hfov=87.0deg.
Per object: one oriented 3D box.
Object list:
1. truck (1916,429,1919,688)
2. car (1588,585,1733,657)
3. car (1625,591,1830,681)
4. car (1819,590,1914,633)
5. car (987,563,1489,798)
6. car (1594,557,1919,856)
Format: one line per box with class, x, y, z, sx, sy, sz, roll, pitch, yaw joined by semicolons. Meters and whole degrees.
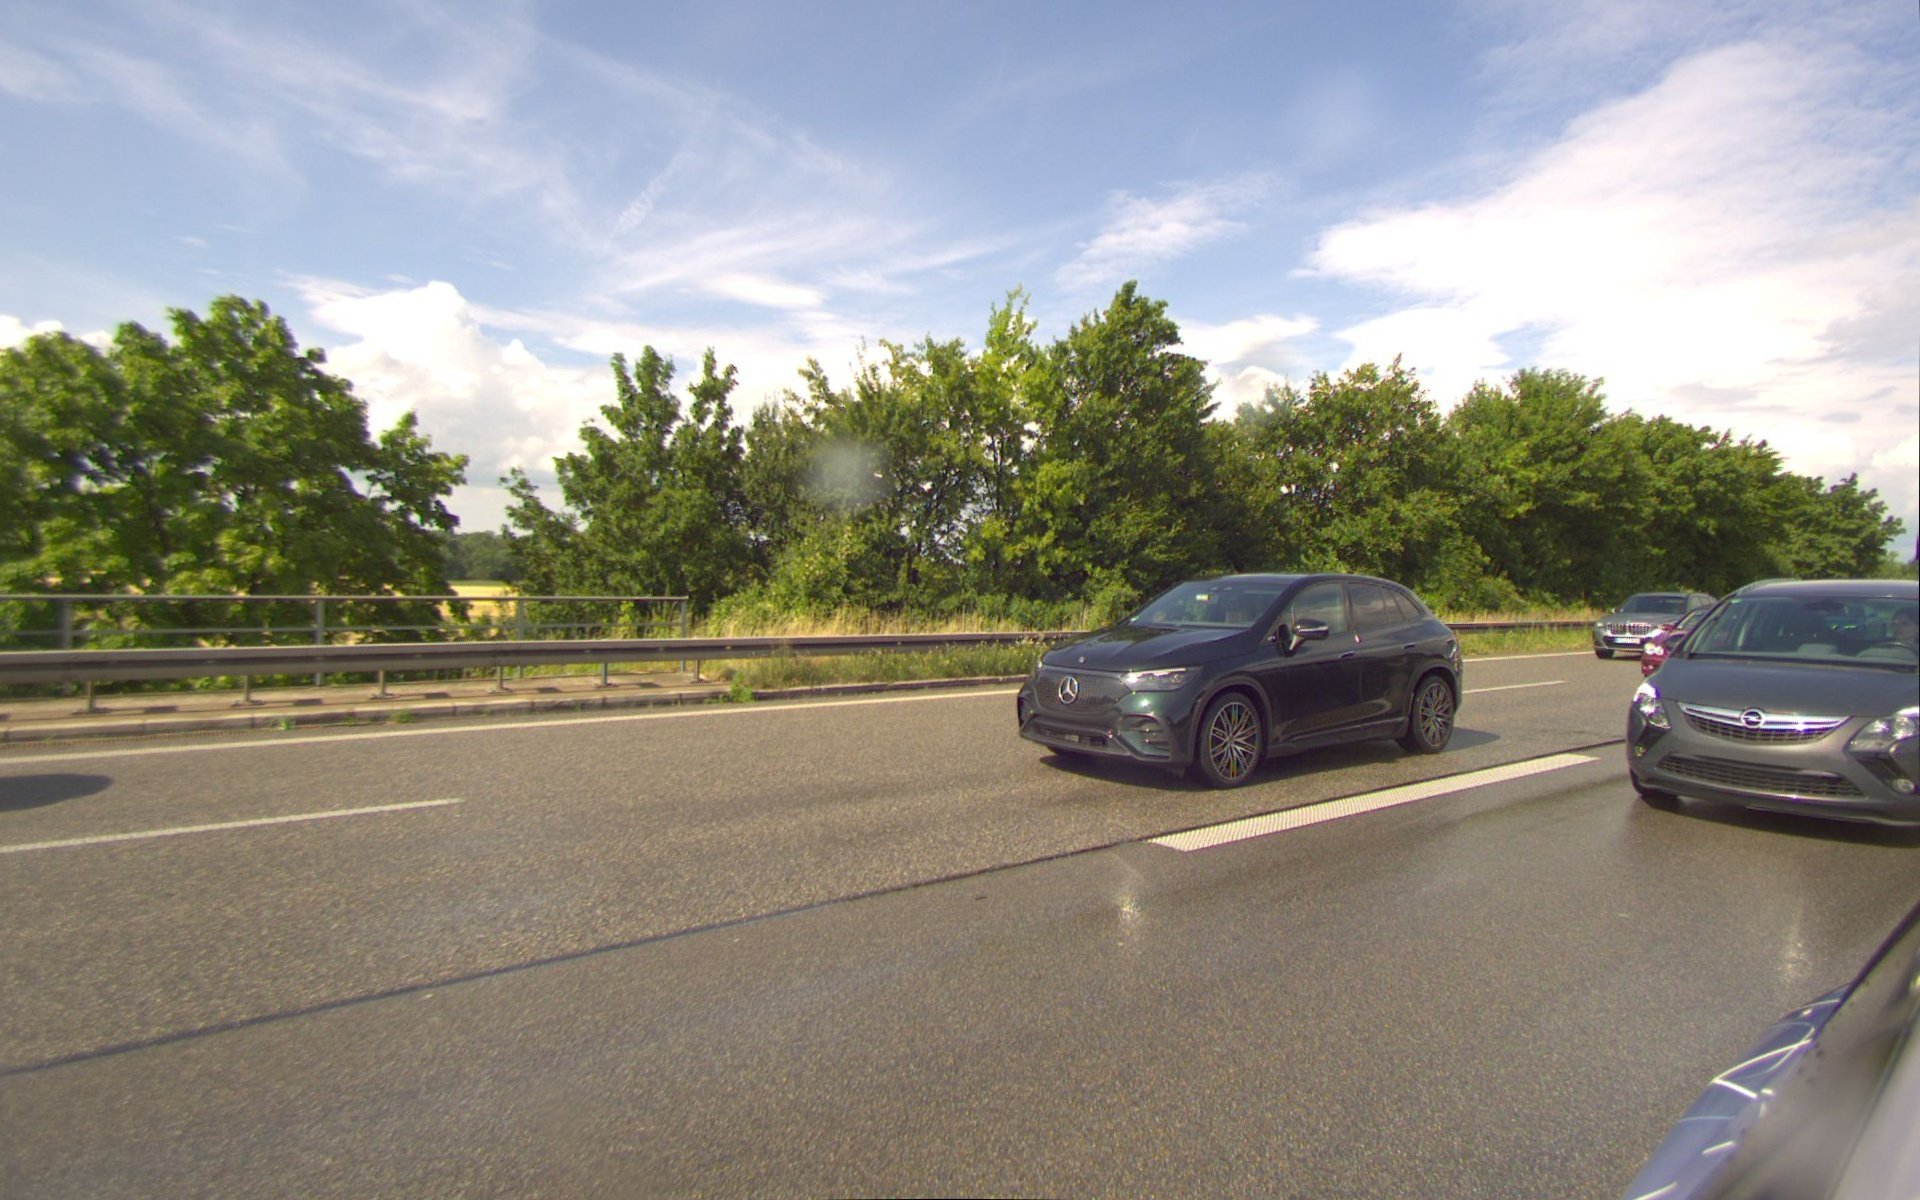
truck;19.146;-0.676;17.246;7.305;4.158;2.819;0;0;-36
car;17.003;0.453;24.503;4.208;1.606;1.753;0;0;-38
car;13.739;0.559;18.030;4.427;1.428;1.757;0;0;-37
car;33.062;0.384;36.879;4.423;1.481;1.792;0;0;-38
car;2.640;0.528;9.078;4.567;1.601;1.999;0;1;-37
car;6.643;0.577;7.514;4.315;1.668;1.884;0;1;-37
